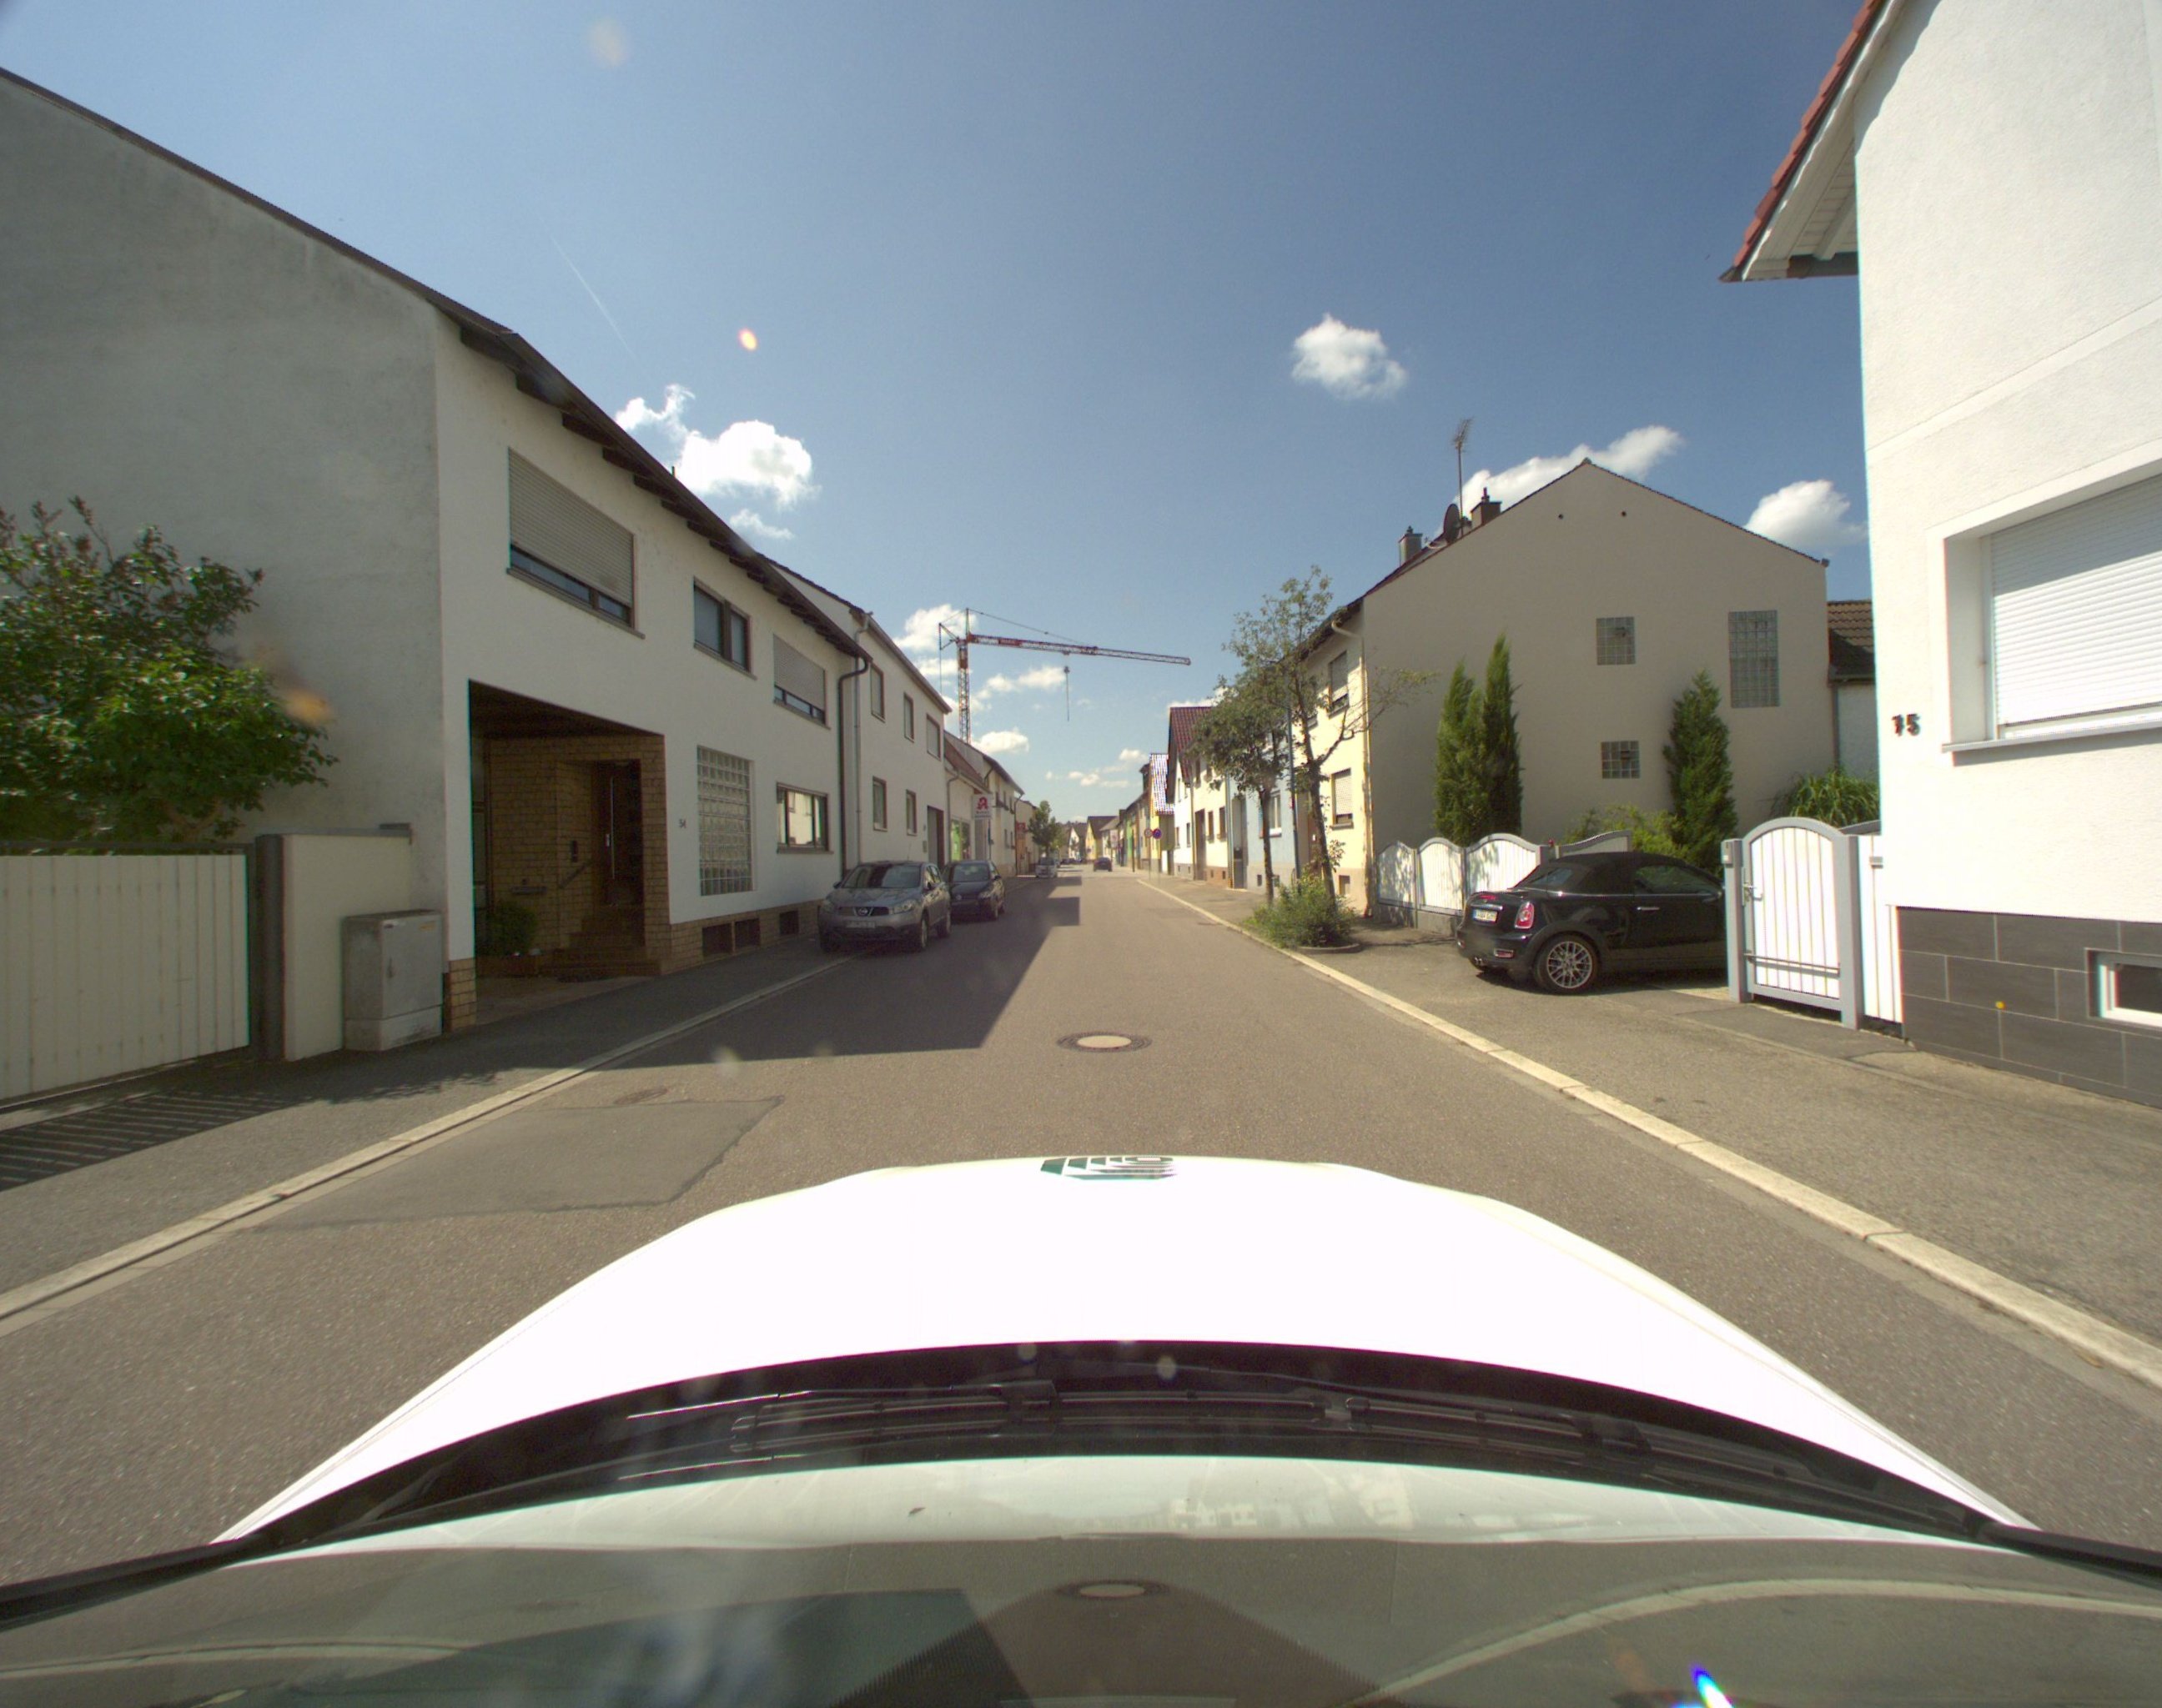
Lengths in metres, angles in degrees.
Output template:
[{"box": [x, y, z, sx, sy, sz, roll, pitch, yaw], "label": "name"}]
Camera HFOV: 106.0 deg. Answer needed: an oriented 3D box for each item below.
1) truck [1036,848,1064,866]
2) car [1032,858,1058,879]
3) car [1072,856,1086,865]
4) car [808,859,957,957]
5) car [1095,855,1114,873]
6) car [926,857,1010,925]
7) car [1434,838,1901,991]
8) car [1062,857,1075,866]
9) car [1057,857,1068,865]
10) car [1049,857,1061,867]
[{"box": [-7.178, 0.746, 183.825, 3.385, 3.865, 13.855, -2, -1, -15], "label": "truck"}, {"box": [-2.661, 1.051, 61.305, 1.717, 1.555, 4.173, 0, 0, 1], "label": "car"}, {"box": [-0.441, 1.263, 168.261, 1.787, 1.753, 4.205, -2, -1, -16], "label": "car"}, {"box": [-3.586, 0.898, 15.514, 1.753, 1.525, 4.288, -2, 0, 0], "label": "car"}, {"box": [2.356, 0.991, 83.579, 1.777, 1.753, 3.998, -2, -1, -1], "label": "car"}, {"box": [-2.959, 0.916, 22.080, 1.648, 1.609, 4.060, -2, 0, 0], "label": "car"}, {"box": [6.260, 0.611, 9.046, 3.908, 1.415, 1.740, -2, 0, 1], "label": "car"}, {"box": [-2.755, 1.591, 177.870, 1.825, 1.753, 4.206, -2, -1, -15], "label": "car"}, {"box": [-4.188, 1.649, 185.496, 1.823, 1.753, 4.211, -2, -1, -12], "label": "car"}, {"box": [-4.158, 1.271, 130.392, 1.731, 1.687, 4.227, 0, -1, -3], "label": "car"}]
